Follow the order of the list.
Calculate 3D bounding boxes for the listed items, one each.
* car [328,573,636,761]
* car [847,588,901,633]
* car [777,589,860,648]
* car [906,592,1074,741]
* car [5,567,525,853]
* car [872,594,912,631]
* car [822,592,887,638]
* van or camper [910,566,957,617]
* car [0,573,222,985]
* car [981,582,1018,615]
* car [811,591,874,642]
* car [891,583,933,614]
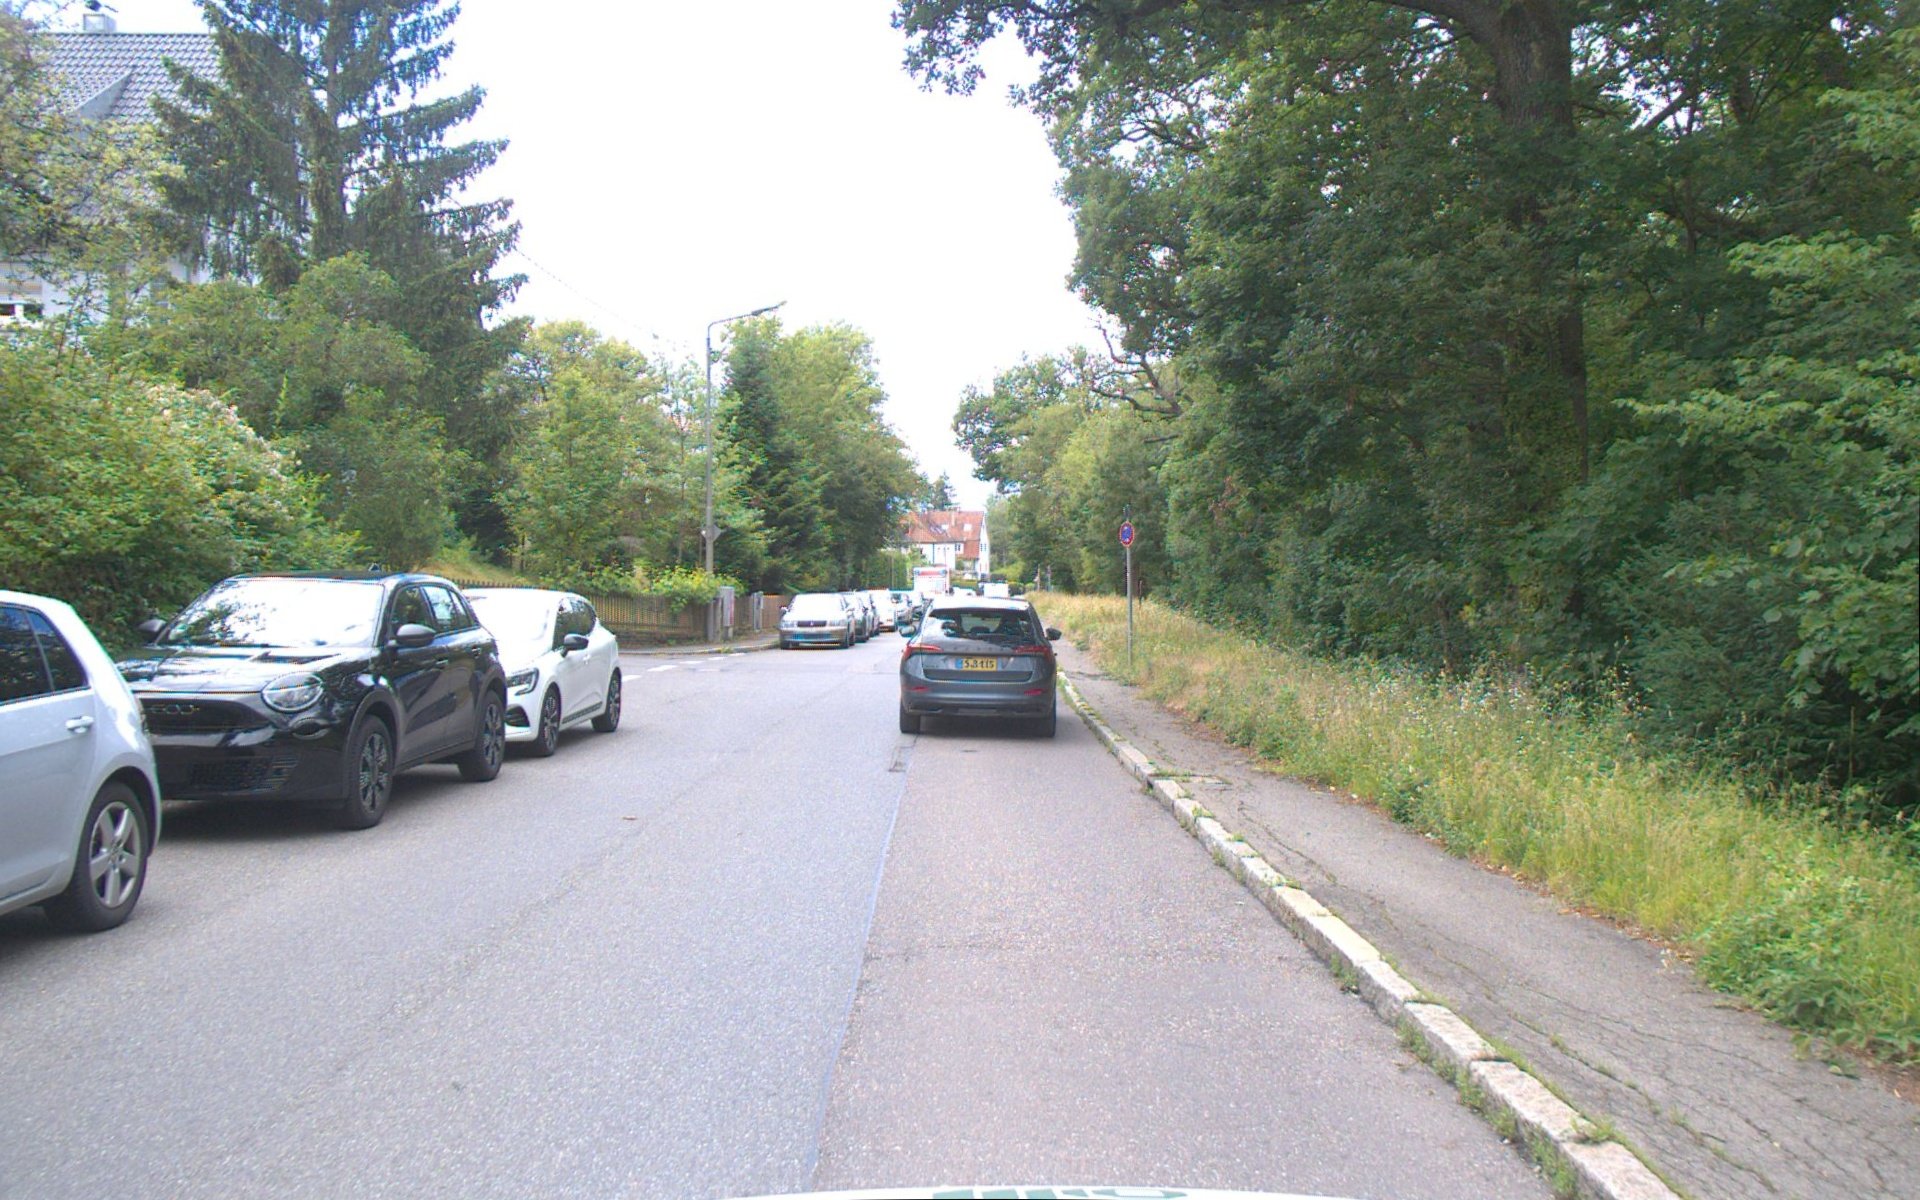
[{"bbox_3d":[-4.372,0.545,15.771,1.747,1.526,4.015,1,0,0],"label":"car"},{"bbox_3d":[-3.237,0.380,63.033,1.877,1.589,4.603,-2,0,-1],"label":"car"},{"bbox_3d":[-3.713,0.458,44.020,1.810,1.464,4.910,-1,0,0],"label":"car"},{"bbox_3d":[0.255,0.678,19.126,1.693,1.464,4.322,1,1,-2],"label":"car"},{"bbox_3d":[-4.322,0.588,11.039,1.747,1.526,4.015,1,0,0],"label":"car"},{"bbox_3d":[-3.039,0.549,73.619,1.686,1.531,4.006,-2,0,-2],"label":"car"},{"bbox_3d":[-3.503,0.481,55.598,1.797,1.464,4.117,-1,0,1],"label":"car"},{"bbox_3d":[-1.632,-0.530,98.859,2.408,2.945,7.162,0,0,-4],"label":"van or camper"},{"bbox_3d":[-4.299,0.636,5.579,1.747,1.464,4.322,1,1,-2],"label":"car"},{"bbox_3d":[2.422,-0.102,102.927,2.030,1.956,4.921,1,1,-2],"label":"car"},{"bbox_3d":[-3.521,0.459,49.996,1.699,1.464,4.261,-1,0,-2],"label":"car"},{"bbox_3d":[-2.466,-0.097,86.006,1.760,1.531,4.865,-2,0,3],"label":"car"}]
